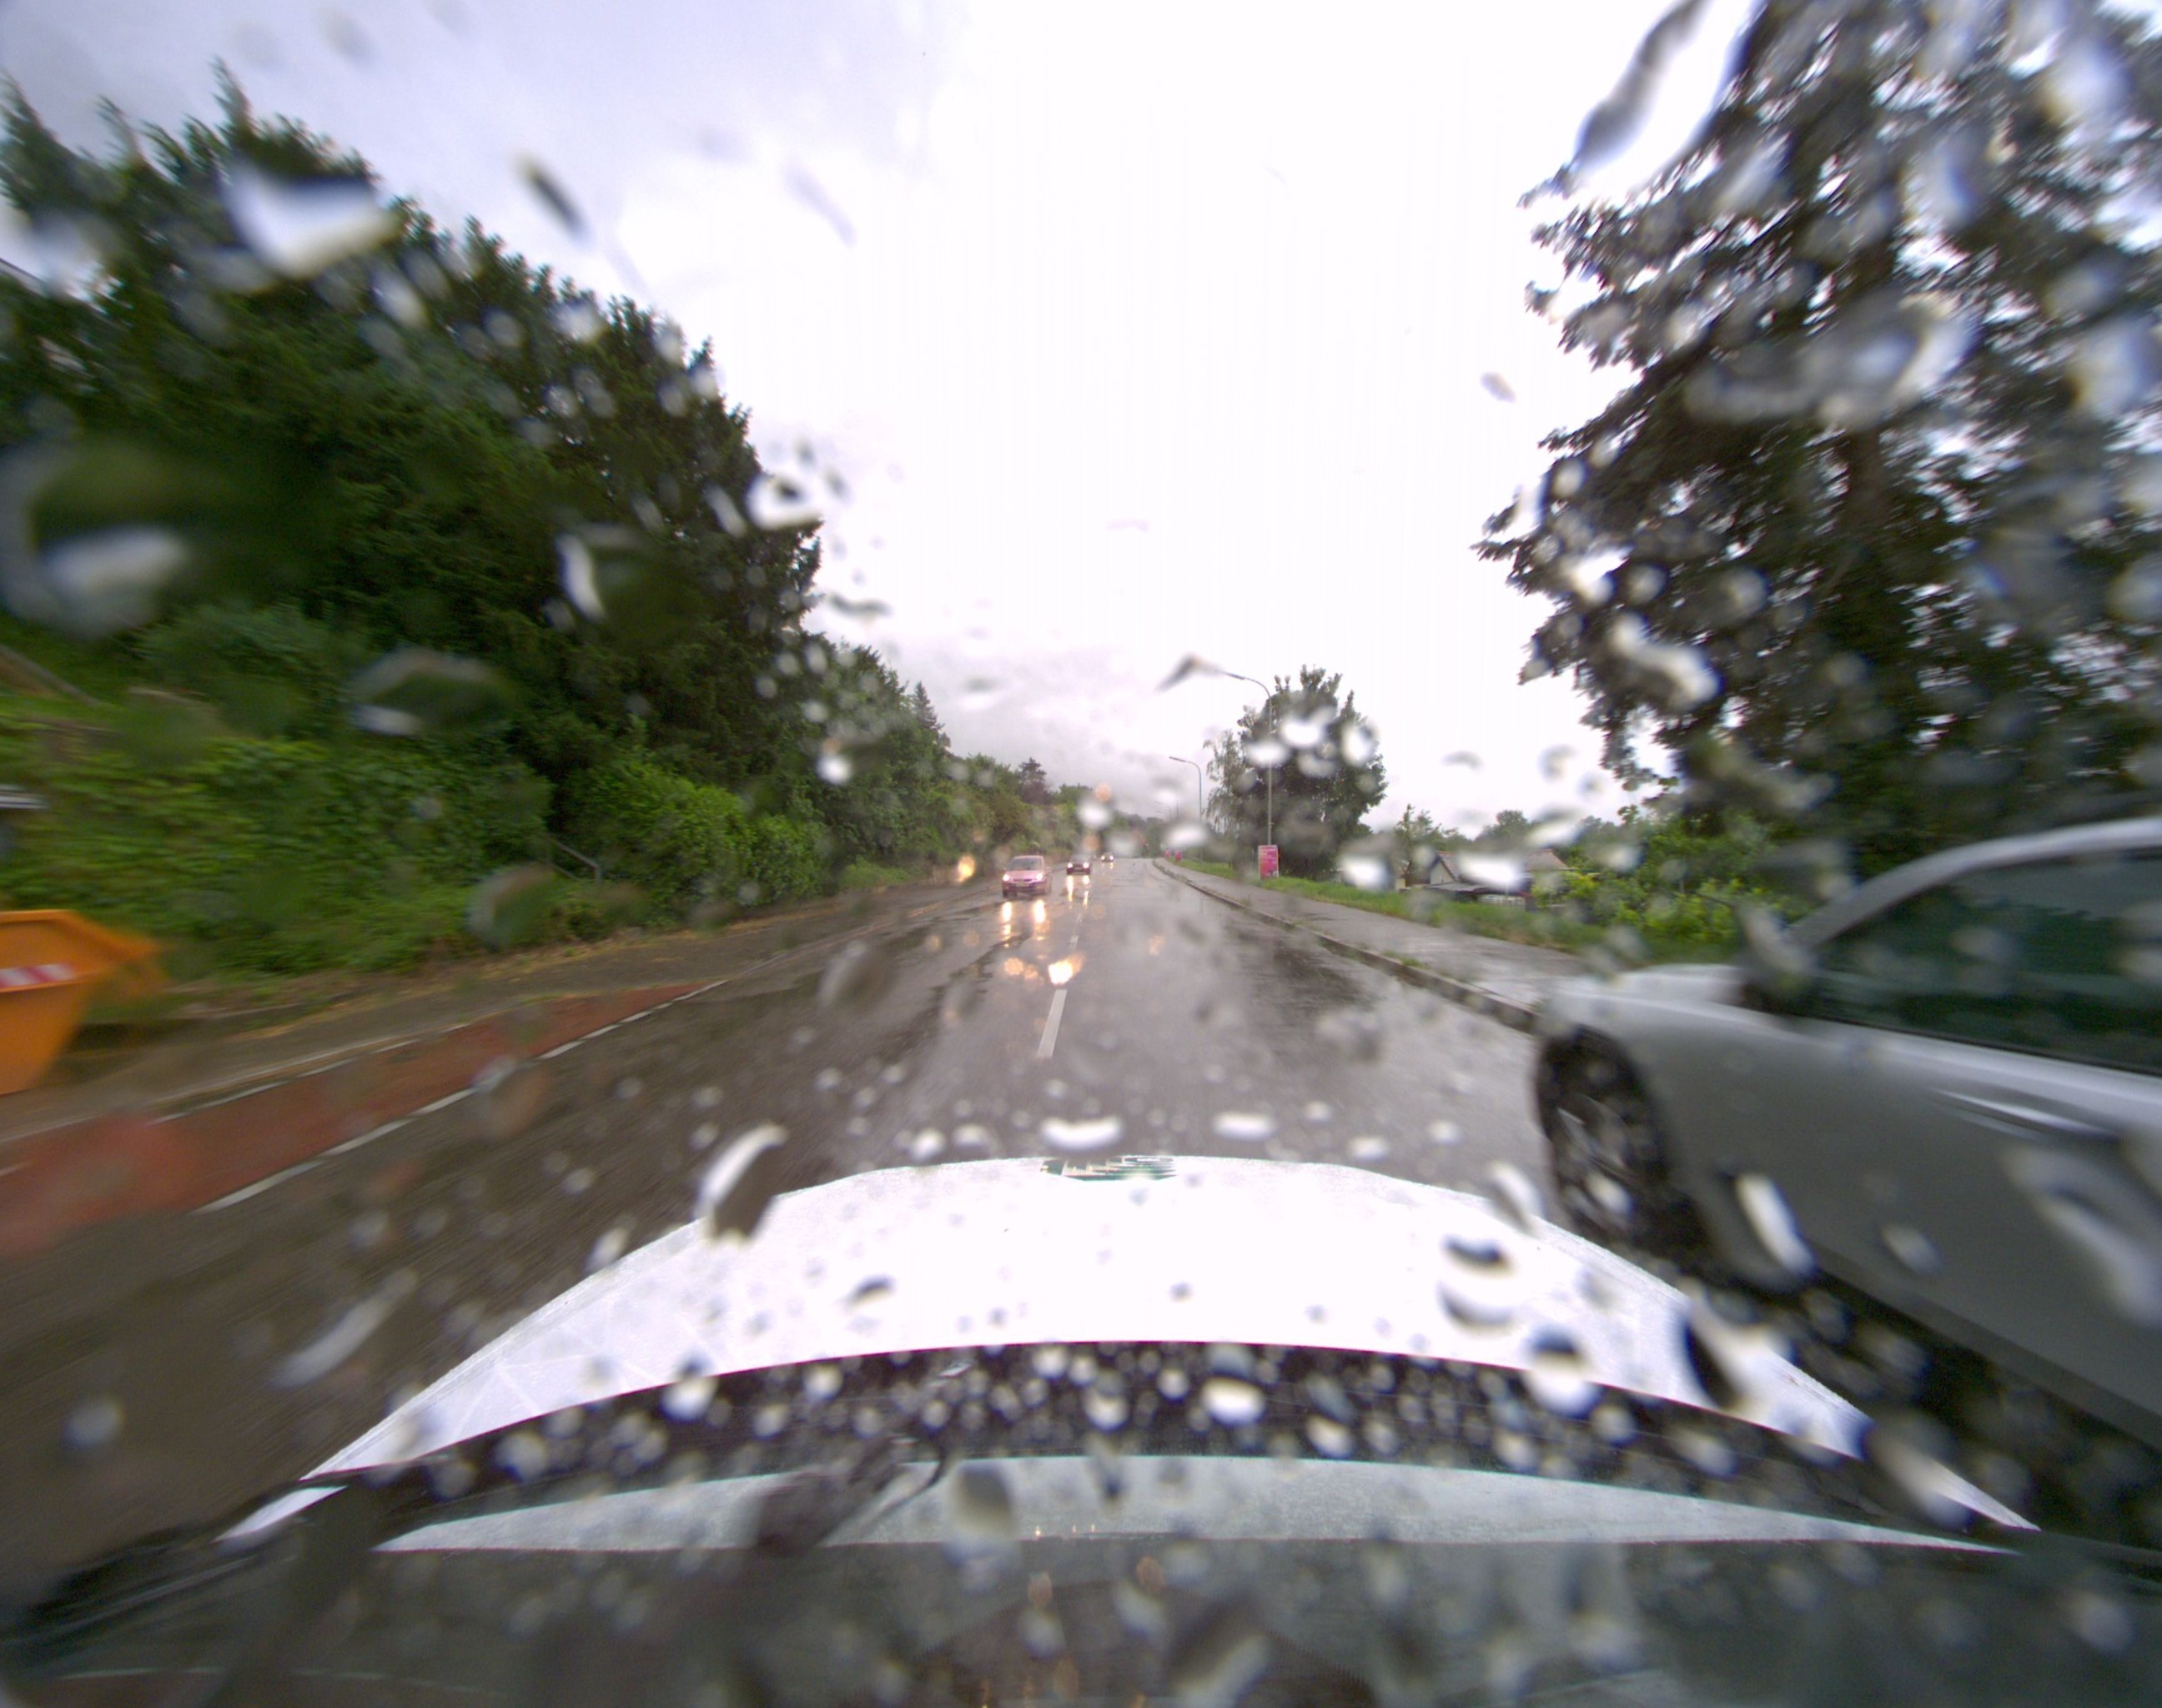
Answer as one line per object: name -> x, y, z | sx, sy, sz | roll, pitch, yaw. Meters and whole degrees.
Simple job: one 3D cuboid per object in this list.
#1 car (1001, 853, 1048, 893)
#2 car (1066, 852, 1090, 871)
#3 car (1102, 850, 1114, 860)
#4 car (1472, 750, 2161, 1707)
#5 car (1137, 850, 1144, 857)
car -> -2.196, 0.705, 32.337 | 1.657, 1.461, 3.660 | -1, 0, -1
car -> -0.207, 0.537, 60.095 | 1.648, 1.352, 3.988 | -1, 0, 1
car -> 4.072, 0.197, 124.338 | 1.753, 1.496, 4.129 | -1, 0, 2
car -> 2.755, 0.633, 1.714 | 1.809, 1.645, 4.396 | -1, 0, 1
car -> 17.512, -0.040, 238.822 | 1.985, 2.014, 4.004 | 0, 0, 3
